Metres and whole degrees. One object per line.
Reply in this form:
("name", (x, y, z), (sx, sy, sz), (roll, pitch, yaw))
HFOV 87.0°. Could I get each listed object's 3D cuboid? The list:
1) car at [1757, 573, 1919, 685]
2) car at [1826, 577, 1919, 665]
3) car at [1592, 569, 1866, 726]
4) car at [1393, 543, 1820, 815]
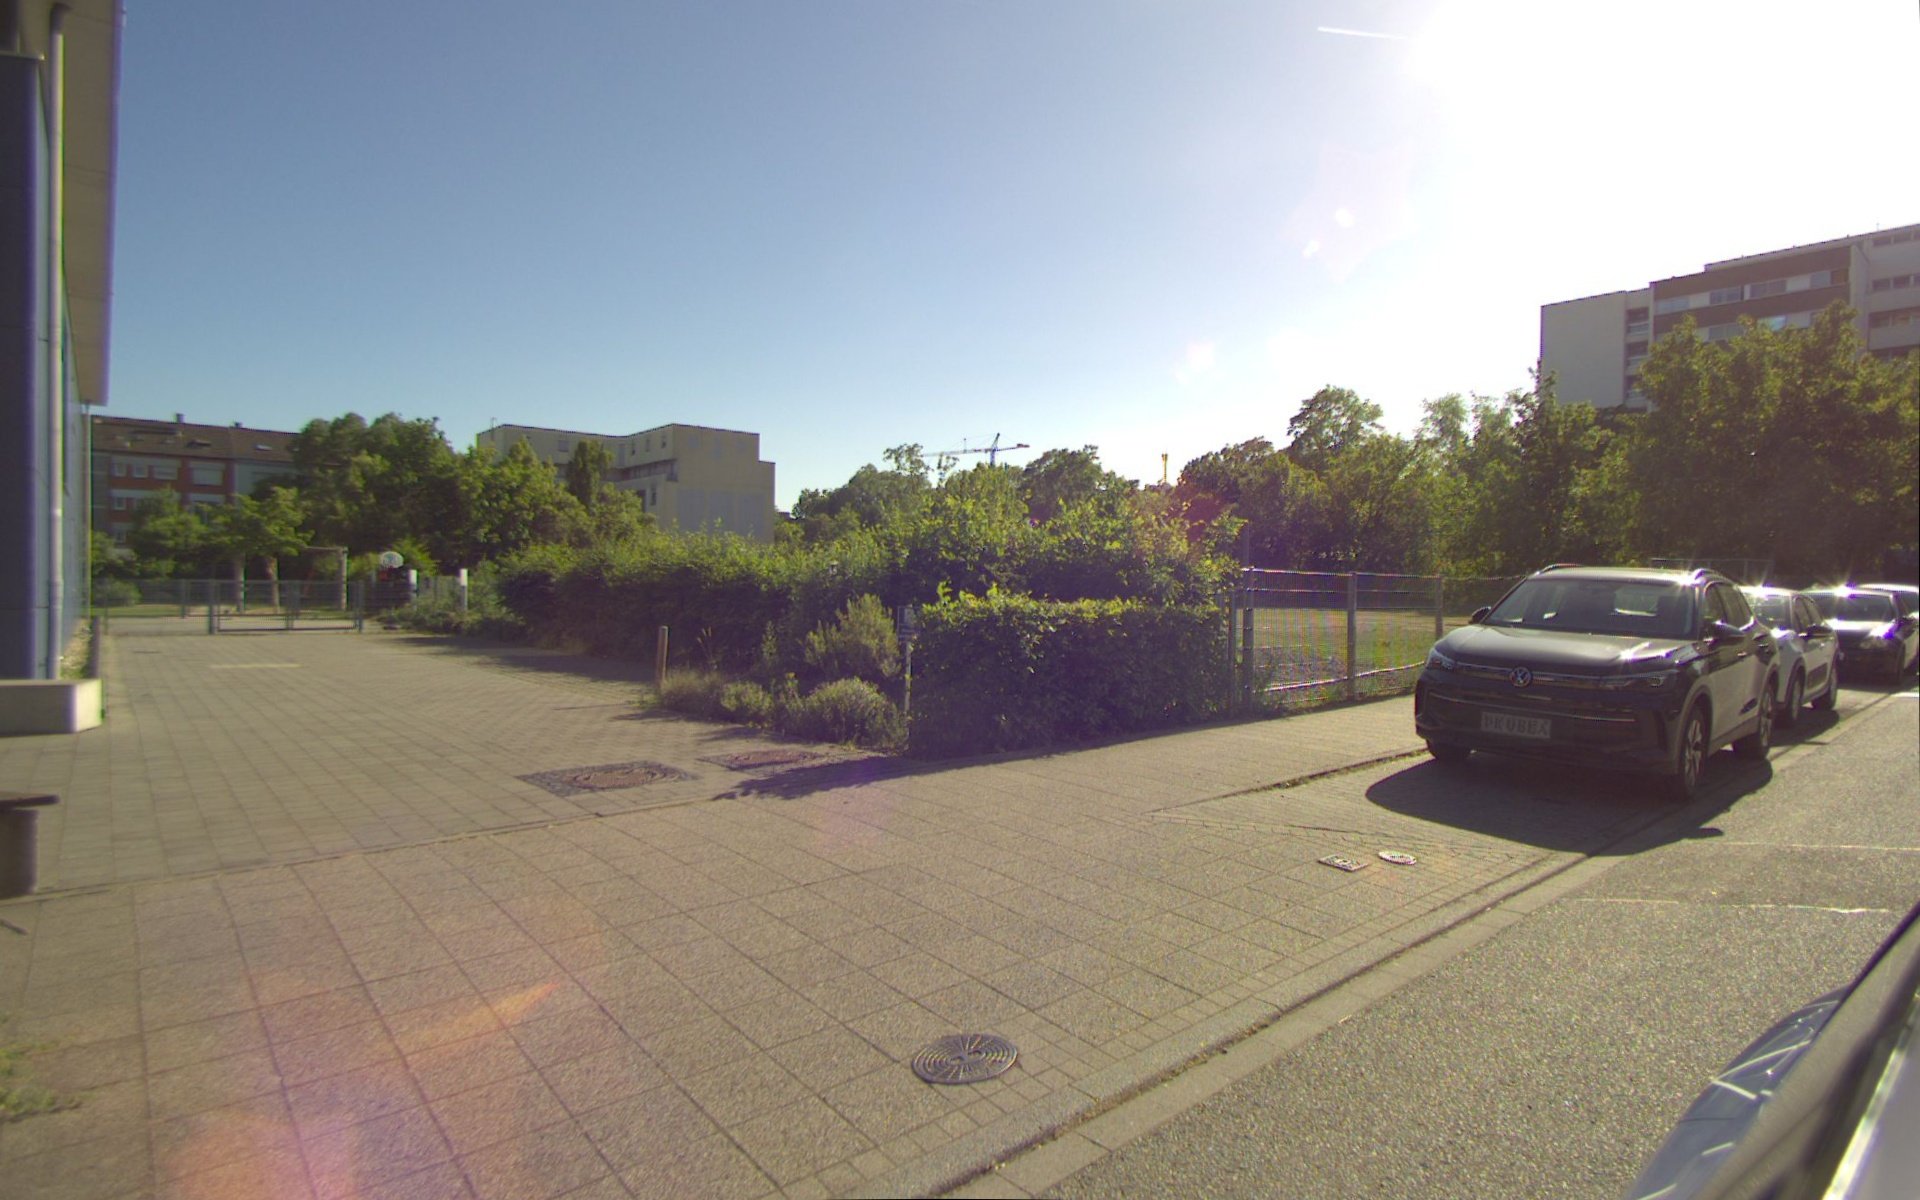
("car", (14.842, 0.378, 16.793), (3.776, 1.484, 1.822), (-2, 6, -41))
("car", (18.834, 0.366, 20.303), (3.640, 1.484, 1.644), (-2, 6, -41))
("car", (9.249, 0.442, 12.078), (3.776, 1.484, 1.822), (-1, 5, -42))
("car", (5.619, 0.445, 8.551), (4.411, 1.667, 1.822), (-1, 5, -42))
